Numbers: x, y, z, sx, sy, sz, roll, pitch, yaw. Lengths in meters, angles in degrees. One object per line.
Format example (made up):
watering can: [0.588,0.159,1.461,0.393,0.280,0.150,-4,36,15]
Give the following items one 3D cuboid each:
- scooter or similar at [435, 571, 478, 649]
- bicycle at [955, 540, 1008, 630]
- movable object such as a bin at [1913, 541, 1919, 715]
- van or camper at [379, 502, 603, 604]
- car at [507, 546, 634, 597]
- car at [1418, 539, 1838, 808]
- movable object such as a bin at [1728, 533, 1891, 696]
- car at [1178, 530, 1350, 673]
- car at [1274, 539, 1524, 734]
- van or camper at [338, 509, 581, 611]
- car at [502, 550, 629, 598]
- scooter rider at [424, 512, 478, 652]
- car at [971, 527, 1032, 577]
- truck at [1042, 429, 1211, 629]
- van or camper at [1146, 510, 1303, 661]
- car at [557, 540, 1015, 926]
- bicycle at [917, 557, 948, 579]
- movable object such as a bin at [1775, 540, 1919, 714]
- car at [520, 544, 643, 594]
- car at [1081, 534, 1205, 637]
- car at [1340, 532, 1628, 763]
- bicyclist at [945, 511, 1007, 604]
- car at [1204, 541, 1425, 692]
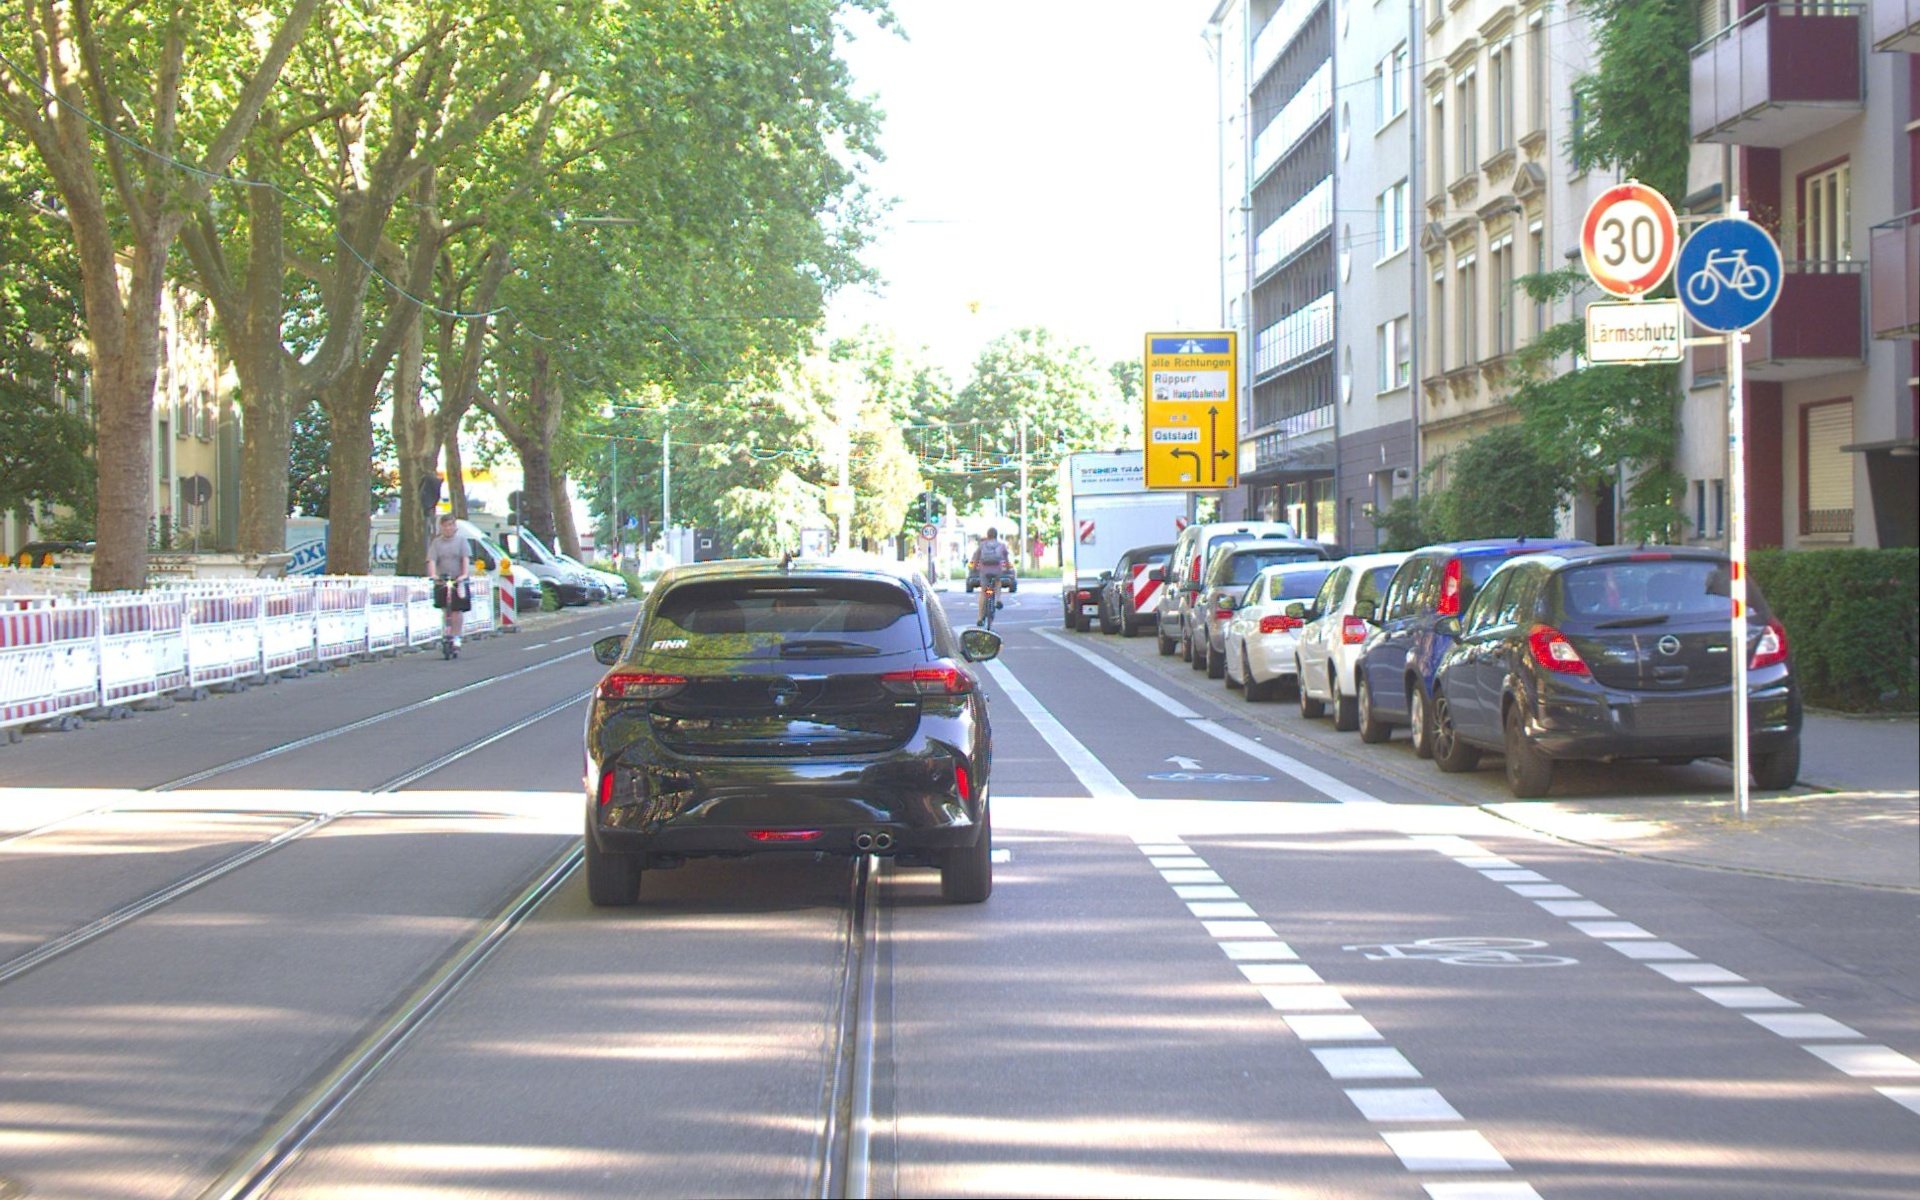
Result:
scooter or similar: [-7.112,0.129,48.558,0.407,1.079,1.338,1,1,0]
bicycle: [0.381,-0.292,61.530,0.916,1.555,3.405,0,1,0]
movable object such as a bin: [7.879,0.220,25.899,1.152,1.322,0.775,1,0,0]
van or camper: [-12.672,-1.270,93.135,5.723,2.635,2.269,1,0,0]
car: [-13.115,-0.973,115.891,4.167,1.665,1.965,0,1,-4]
car: [4.063,0.382,21.512,1.733,1.457,3.917,-2,1,-1]
movable object such as a bin: [7.147,0.110,29.009,0.923,1.322,1.682,1,1,-1]
car: [3.547,-0.018,40.615,1.660,1.575,3.589,-1,1,0]
car: [3.732,0.276,29.787,1.591,1.521,3.835,-2,1,0]
van or camper: [-12.178,-0.980,83.849,5.502,2.371,2.269,1,1,3]
car: [-12.947,-0.850,112.941,3.987,1.510,1.650,1,1,0]
scooter rider: [-7.180,-0.256,48.527,0.649,1.950,0.624,1,0,0]
car: [1.474,-1.754,123.770,1.993,1.690,4.740,-2,1,-1]
truck: [2.957,-1.268,62.931,2.538,3.326,7.195,-3,1,0]
van or camper: [3.460,-0.224,45.590,1.669,1.876,4.211,-1,1,0]
car: [-0.727,0.485,15.424,1.781,1.491,4.000,0,1,-1]
bicycle: [-1.222,-1.432,153.356,0.789,0.988,2.241,1,1,16]
movable object such as a bin: [7.154,0.197,27.201,0.967,1.322,1.721,1,1,-1]
car: [-13.128,-1.074,119.478,4.167,1.665,1.965,-1,1,-4]
car: [2.985,-0.260,56.799,1.730,1.552,4.152,-3,1,0]
car: [3.836,0.309,25.683,1.526,1.584,3.752,1,1,0]
bicyclist: [0.295,-0.764,61.570,1.089,1.641,1.400,0,1,1]
car: [3.621,0.121,35.869,1.659,1.394,4.740,-2,1,-1]
